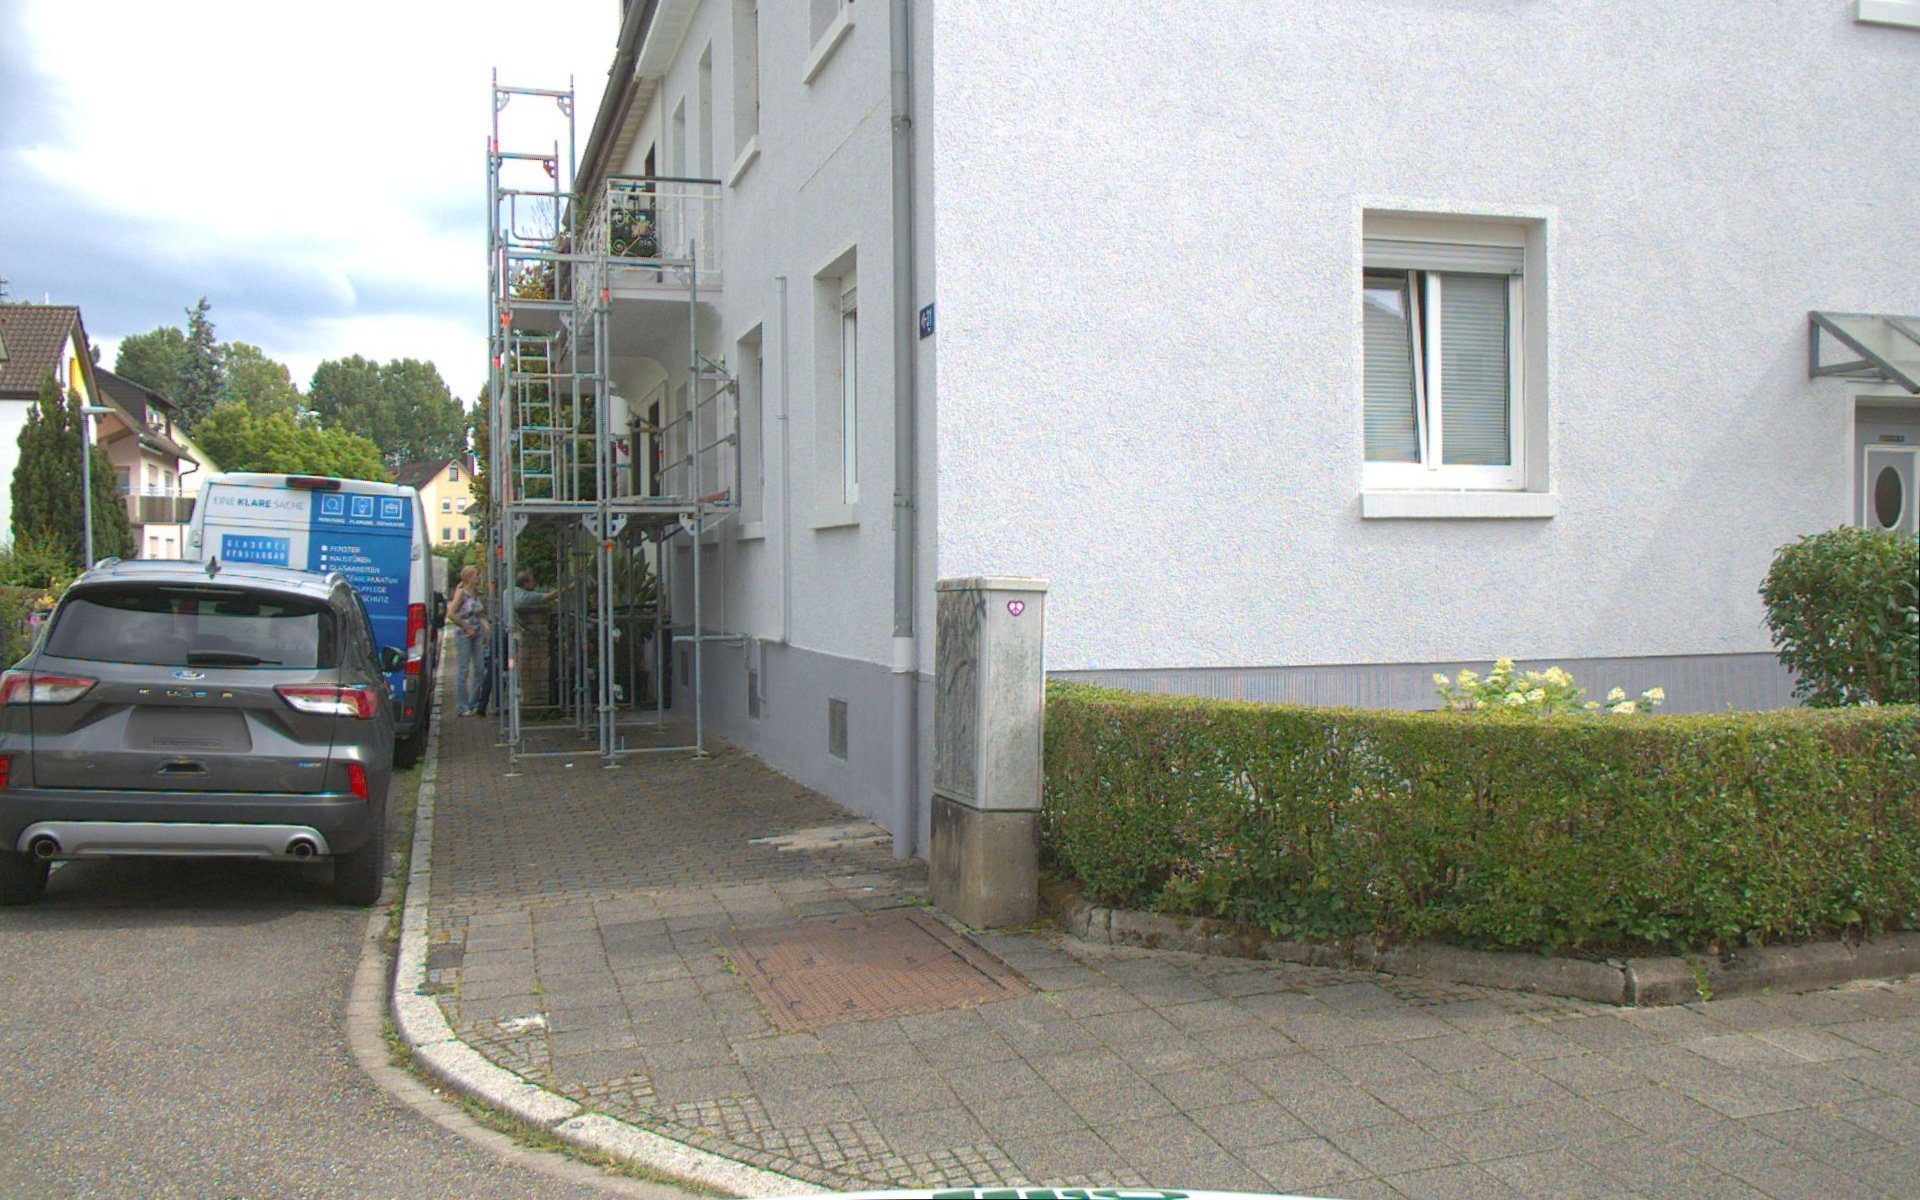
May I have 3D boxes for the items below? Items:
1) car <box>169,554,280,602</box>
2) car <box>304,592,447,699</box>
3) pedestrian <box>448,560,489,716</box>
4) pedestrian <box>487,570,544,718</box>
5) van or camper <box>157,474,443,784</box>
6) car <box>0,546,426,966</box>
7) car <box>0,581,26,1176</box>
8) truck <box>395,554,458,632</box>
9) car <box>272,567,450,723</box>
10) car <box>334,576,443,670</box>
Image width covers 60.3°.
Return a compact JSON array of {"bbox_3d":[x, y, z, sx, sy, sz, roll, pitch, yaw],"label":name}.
[{"bbox_3d":[-29.382,-0.873,66.208,3.930,1.803,1.858,-1,-1,-21],"label":"car"},{"bbox_3d":[-9.366,0.655,26.547,1.964,1.481,4.317,-1,1,-20],"label":"car"},{"bbox_3d":[-5.758,0.443,19.380,0.401,1.793,0.510,-1,-1,-21],"label":"pedestrian"},{"bbox_3d":[-5.098,0.495,18.974,0.591,1.658,0.622,-1,-1,-17],"label":"pedestrian"},{"bbox_3d":[-6.192,0.181,16.102,2.158,2.502,5.029,-1,1,-18],"label":"van or camper"},{"bbox_3d":[-4.095,0.625,9.254,1.964,1.757,4.317,-1,1,-20],"label":"car"},{"bbox_3d":[-2.957,0.717,2.323,1.785,1.546,4.029,0,0,-13],"label":"car"},{"bbox_3d":[-19.559,-0.288,60.533,2.098,2.703,4.559,-1,1,-19],"label":"truck"},{"bbox_3d":[-7.835,0.495,21.749,1.964,1.803,4.317,-1,1,-20],"label":"car"},{"bbox_3d":[-11.800,0.416,34.126,1.964,1.780,4.317,-1,1,-20],"label":"car"}]
